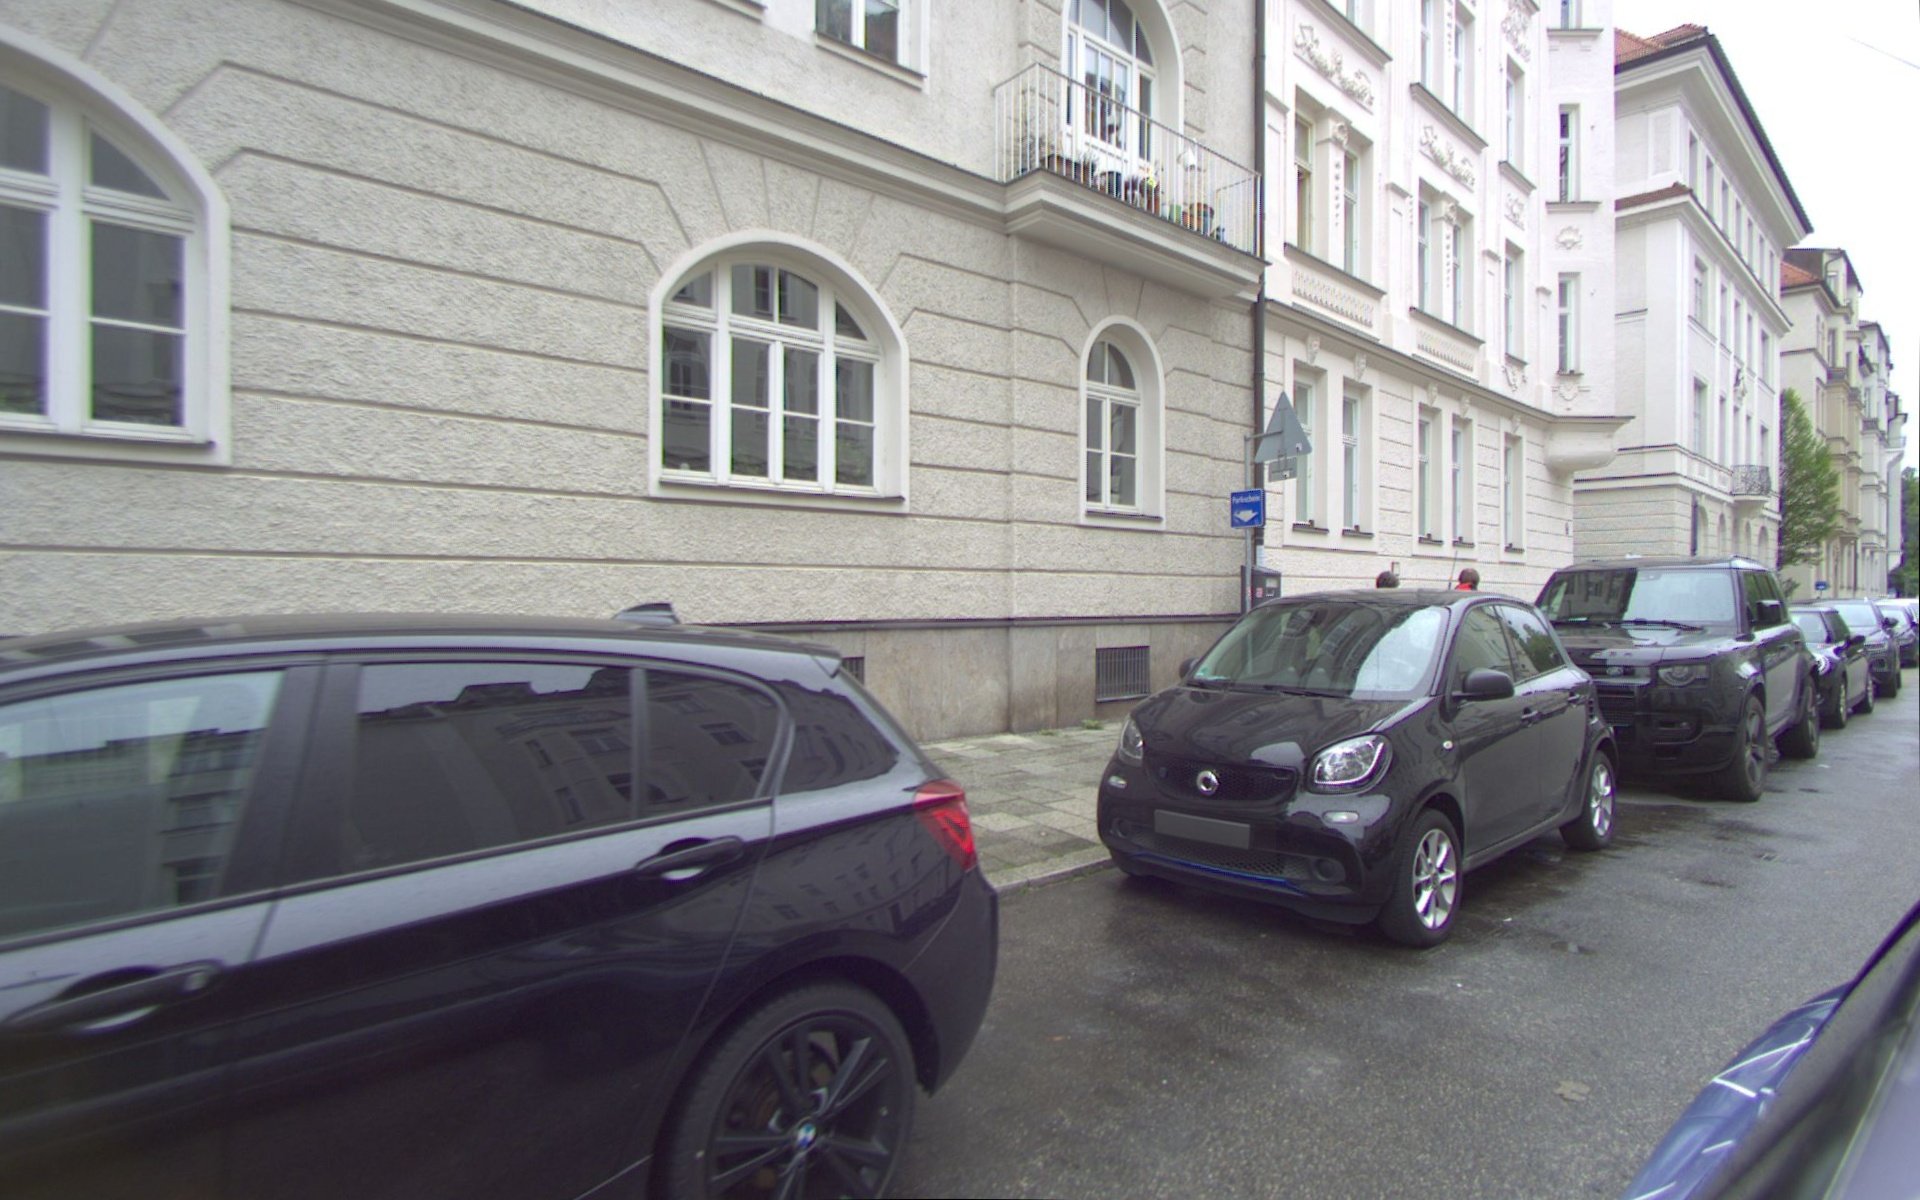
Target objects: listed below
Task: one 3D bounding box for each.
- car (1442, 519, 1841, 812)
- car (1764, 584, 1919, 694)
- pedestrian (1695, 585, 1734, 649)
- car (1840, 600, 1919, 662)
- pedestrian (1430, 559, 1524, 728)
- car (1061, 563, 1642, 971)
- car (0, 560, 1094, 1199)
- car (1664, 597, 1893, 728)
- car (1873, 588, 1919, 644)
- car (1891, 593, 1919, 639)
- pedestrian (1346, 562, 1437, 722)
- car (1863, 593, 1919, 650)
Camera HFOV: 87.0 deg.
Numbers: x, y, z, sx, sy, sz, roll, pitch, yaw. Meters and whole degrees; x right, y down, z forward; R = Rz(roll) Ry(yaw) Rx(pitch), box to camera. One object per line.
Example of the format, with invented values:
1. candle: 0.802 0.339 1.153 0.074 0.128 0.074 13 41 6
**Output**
1. car: 6.172 0.445 8.909 4.635 1.909 1.912 0 -2 -43
2. car: 14.721 0.585 16.805 1.708 1.608 3.935 -2 -1 45
3. pedestrian: 20.652 0.466 27.695 0.798 1.700 0.683 1 2 -44
4. car: 22.731 0.707 24.657 3.934 1.413 1.613 0 -1 -44
5. pedestrian: 5.614 0.440 10.992 0.703 1.750 0.692 2 1 45
6. car: 2.366 0.638 5.675 3.575 1.545 1.656 0 -1 -43
7. car: -1.778 0.684 1.949 4.126 1.489 1.710 0 0 -40
8. car: 10.440 0.692 12.843 3.519 1.413 1.666 0 -1 -41
9. car: 29.773 0.503 31.278 4.316 1.657 1.898 1 0 -42
10. car: 33.620 0.532 35.040 4.100 1.544 1.750 0 0 -43
11. pedestrian: 4.818 0.444 11.306 0.680 1.695 0.644 3 2 45
12. car: 26.494 0.562 28.317 1.708 1.520 3.937 -1 0 44
